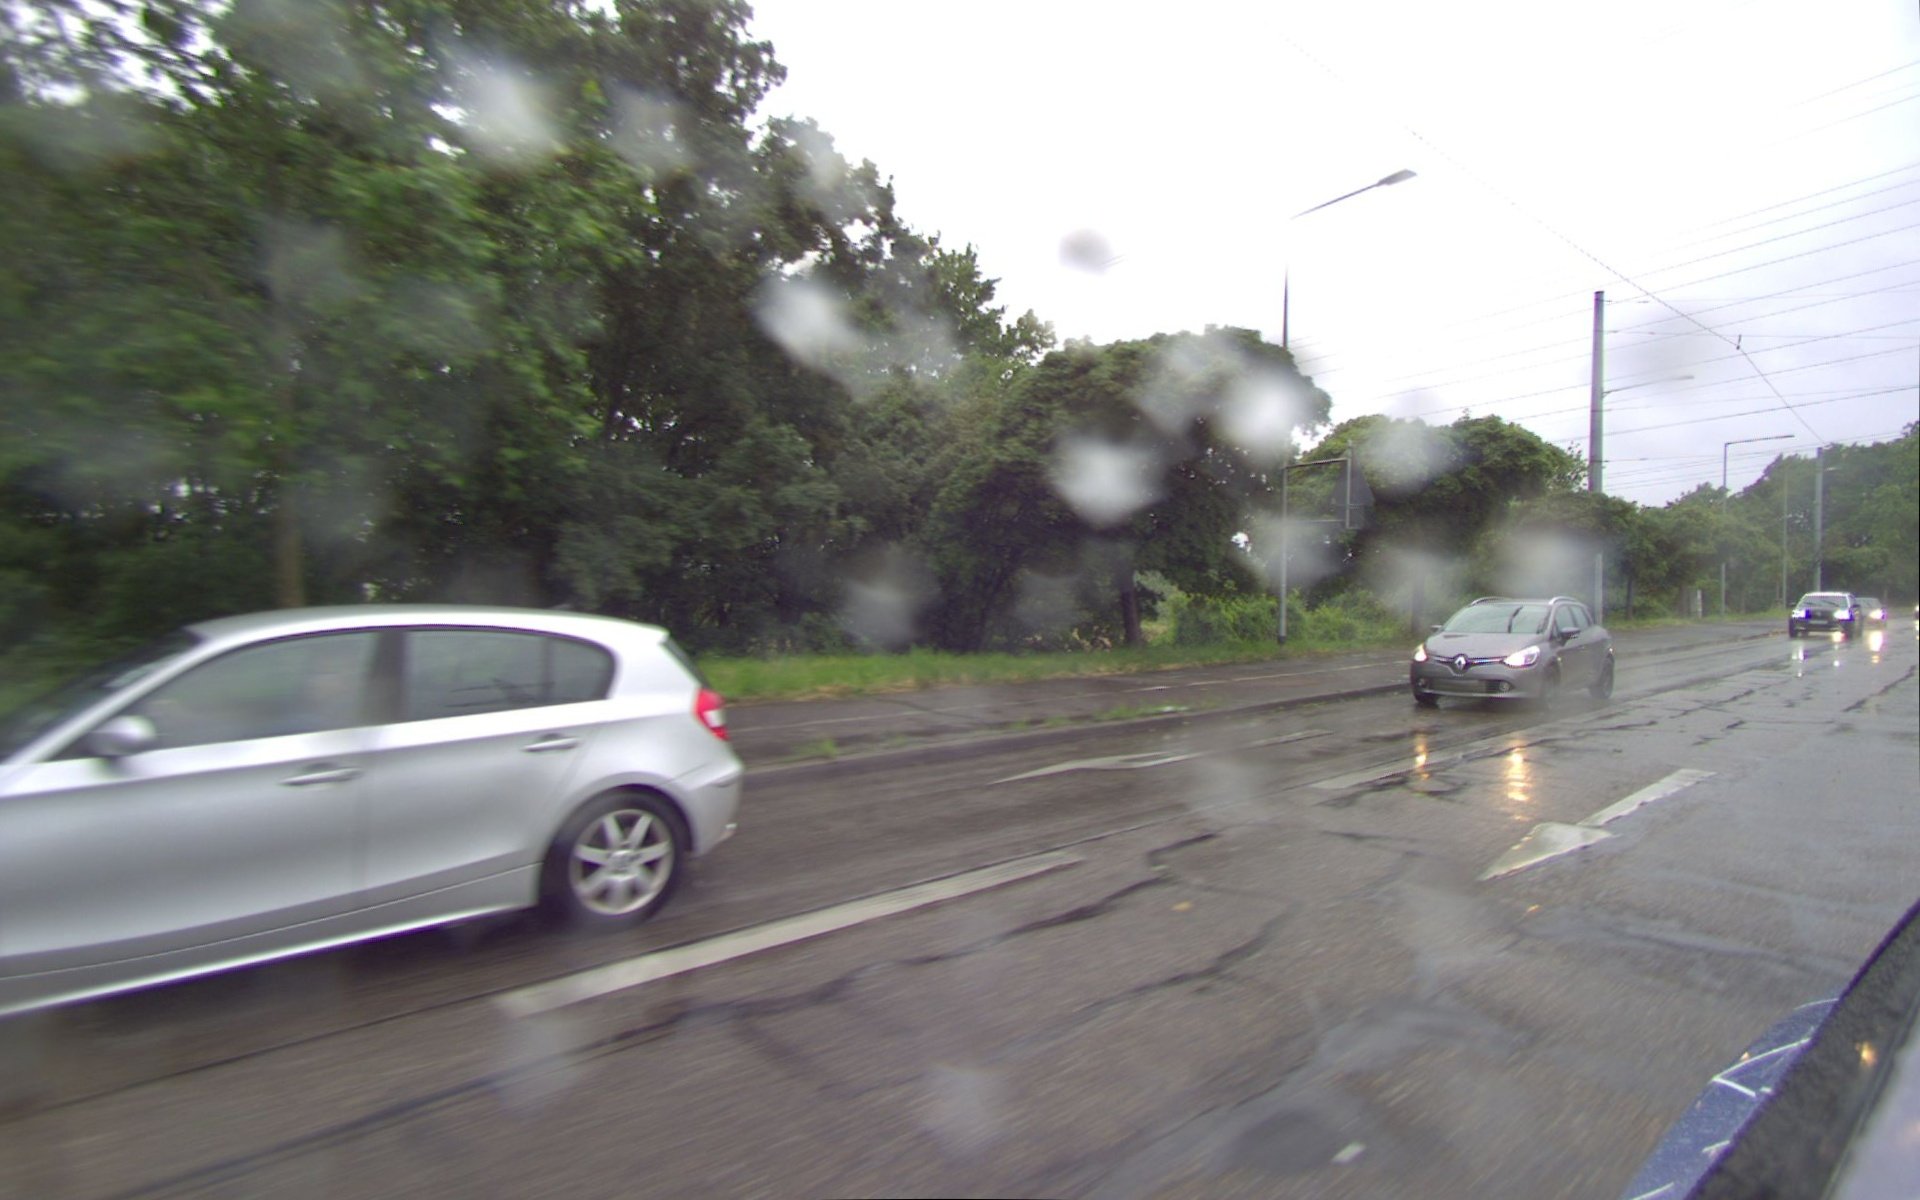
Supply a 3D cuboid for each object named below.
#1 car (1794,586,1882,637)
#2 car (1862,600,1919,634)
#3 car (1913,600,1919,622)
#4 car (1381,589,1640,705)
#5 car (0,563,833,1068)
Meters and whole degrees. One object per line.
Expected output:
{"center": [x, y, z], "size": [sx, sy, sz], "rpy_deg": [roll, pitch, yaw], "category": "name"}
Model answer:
{"center": [32.015, 0.421, 36.856], "size": [4.680, 1.724, 1.795], "rpy_deg": [1, -1, -41], "category": "car"}
{"center": [42.233, 0.744, 45.689], "size": [3.930, 1.445, 1.782], "rpy_deg": [1, 0, -41], "category": "car"}
{"center": [62.978, 0.734, 65.349], "size": [3.930, 1.445, 1.782], "rpy_deg": [1, 0, -41], "category": "car"}
{"center": [7.805, 0.584, 14.181], "size": [4.202, 1.374, 1.890], "rpy_deg": [1, -1, -42], "category": "car"}
{"center": [-2.856, 0.657, 4.195], "size": [4.527, 1.522, 1.628], "rpy_deg": [1, -1, -43], "category": "car"}
